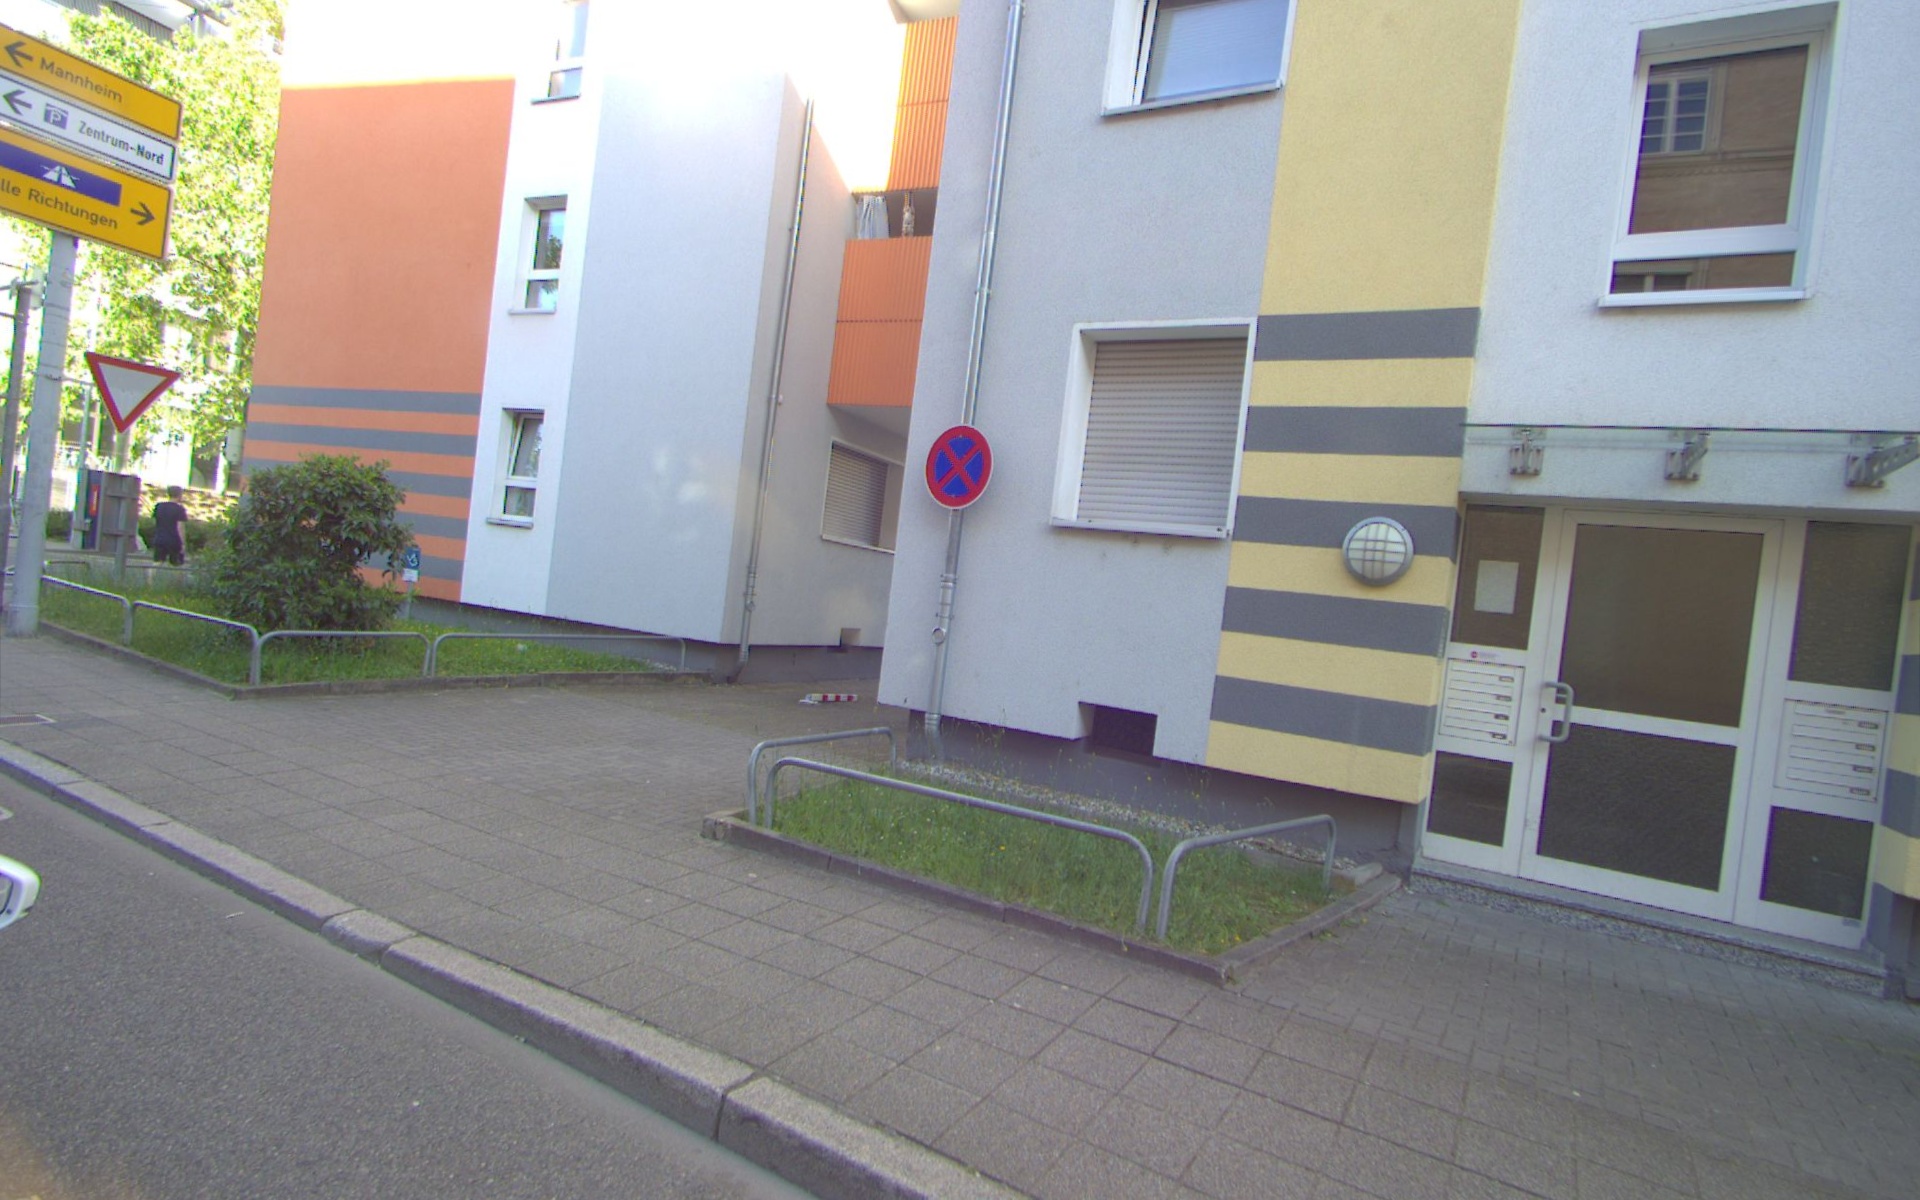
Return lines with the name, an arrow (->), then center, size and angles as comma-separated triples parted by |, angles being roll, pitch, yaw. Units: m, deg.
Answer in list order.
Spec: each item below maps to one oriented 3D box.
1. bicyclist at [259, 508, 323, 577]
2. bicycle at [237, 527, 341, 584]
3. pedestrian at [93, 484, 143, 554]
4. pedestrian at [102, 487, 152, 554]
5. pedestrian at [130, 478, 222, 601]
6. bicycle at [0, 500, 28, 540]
bicyclist -> -16.583, -1.409, 24.940 | 0.583, 1.546, 1.075 | 7, 1, 37
bicycle -> -16.610, -1.090, 24.948 | 0.583, 1.166, 1.963 | 7, 0, 37
pedestrian -> -23.791, -2.285, 28.430 | 0.637, 1.816, 0.766 | 6, -1, 34
pedestrian -> -23.223, -2.207, 28.041 | 0.637, 1.739, 0.766 | 6, -1, 34
pedestrian -> -12.628, -0.952, 16.217 | 0.689, 1.831, 0.720 | 7, -1, -2
bicycle -> -26.371, -2.238, 27.377 | 1.409, 1.021, 0.379 | 7, 1, -11
